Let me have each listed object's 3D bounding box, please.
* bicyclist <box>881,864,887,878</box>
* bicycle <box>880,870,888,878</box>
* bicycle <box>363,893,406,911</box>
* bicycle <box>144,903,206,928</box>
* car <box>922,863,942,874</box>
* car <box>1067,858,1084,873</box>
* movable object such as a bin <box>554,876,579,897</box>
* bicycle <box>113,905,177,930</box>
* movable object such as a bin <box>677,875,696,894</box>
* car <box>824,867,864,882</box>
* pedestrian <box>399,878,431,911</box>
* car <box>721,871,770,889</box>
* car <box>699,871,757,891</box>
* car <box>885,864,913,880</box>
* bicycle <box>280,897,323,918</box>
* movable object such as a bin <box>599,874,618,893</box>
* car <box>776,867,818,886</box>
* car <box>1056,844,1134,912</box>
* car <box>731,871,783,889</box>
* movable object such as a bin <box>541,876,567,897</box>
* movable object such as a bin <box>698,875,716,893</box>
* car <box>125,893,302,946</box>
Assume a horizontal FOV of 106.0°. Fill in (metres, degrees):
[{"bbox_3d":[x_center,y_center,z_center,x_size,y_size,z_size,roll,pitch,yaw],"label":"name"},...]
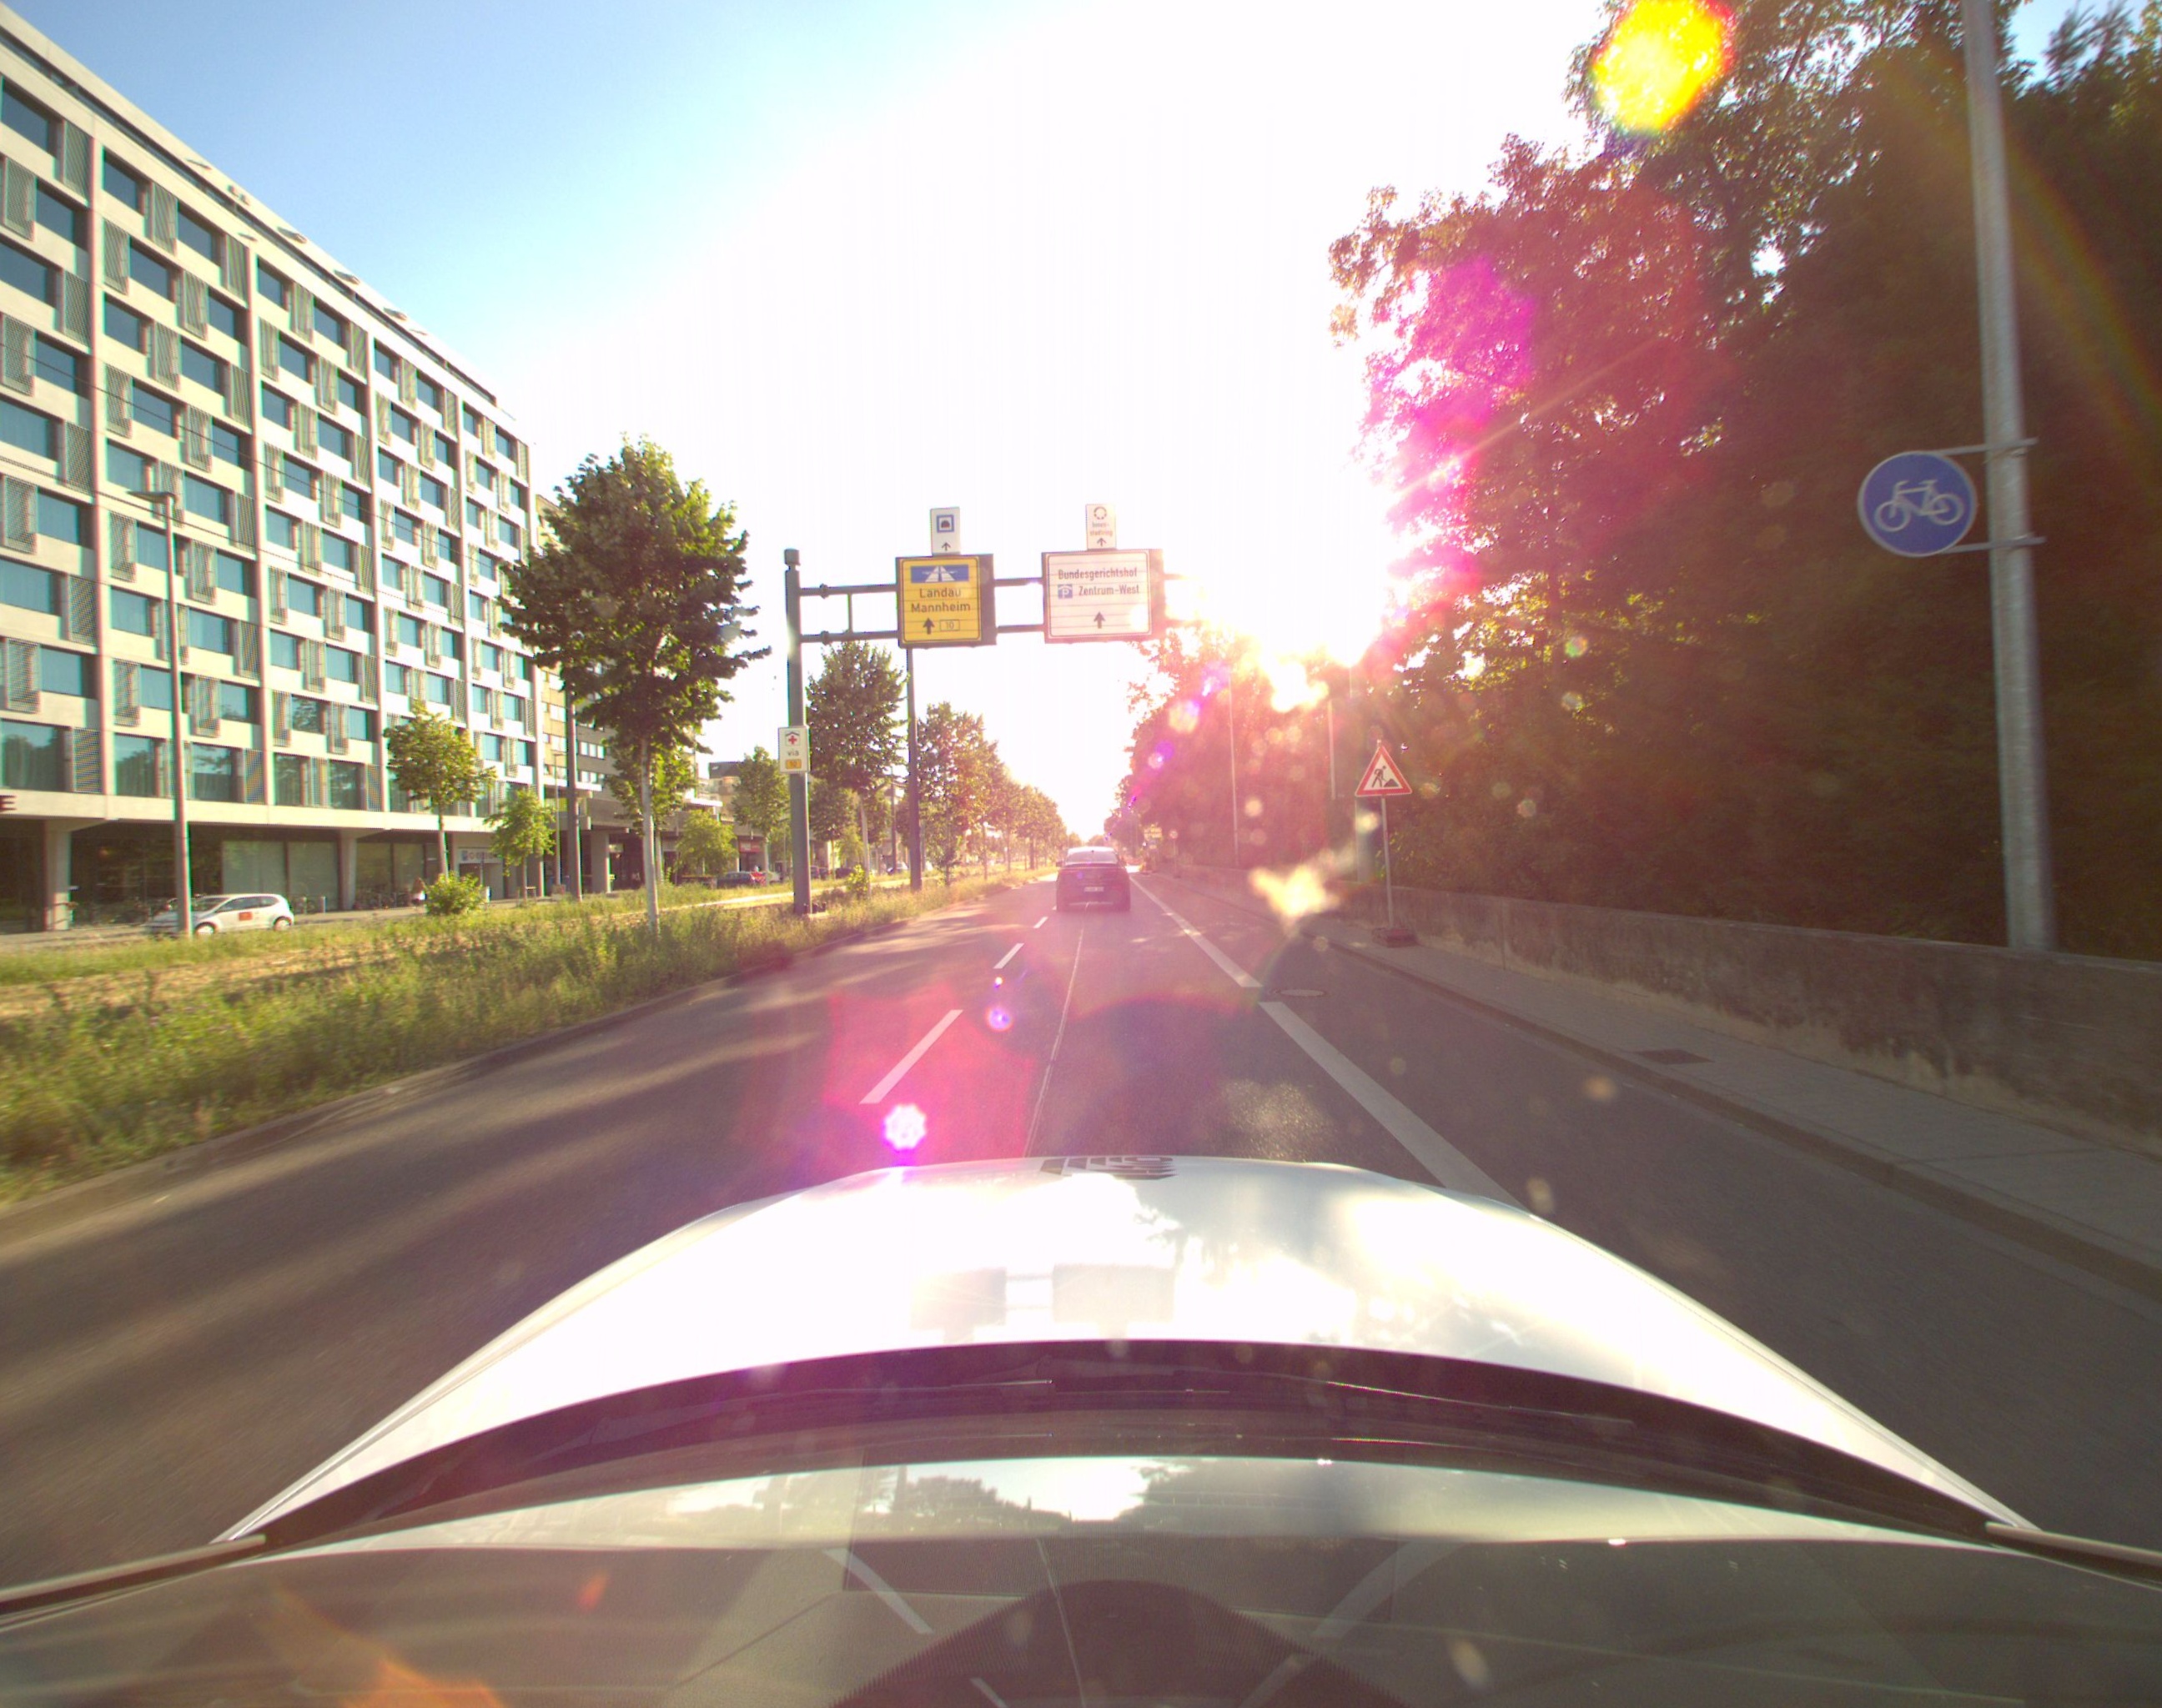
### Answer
[{"bbox_3d":[-25.456,2.173,105.351,0.538,1.788,0.857,-1,0,-1],"label":"bicyclist"},{"bbox_3d":[-25.438,2.583,105.254,0.542,0.993,1.711,-1,0,-1],"label":"bicycle"},{"bbox_3d":[-36.948,2.545,43.217,1.799,0.905,0.511,-2,-1,-2],"label":"bicycle"},{"bbox_3d":[-37.191,2.513,33.435,1.801,0.905,0.511,-2,-1,-5],"label":"bicycle"},{"bbox_3d":[-21.473,2.119,117.696,1.878,1.514,4.003,-1,0,3],"label":"car"},{"bbox_3d":[-0.620,1.292,94.129,1.879,1.580,4.001,-1,0,1],"label":"car"},{"bbox_3d":[-36.513,2.299,57.777,0.797,1.440,1.403,-2,0,2],"label":"movable object such as a bin"},{"bbox_3d":[-37.502,2.545,32.632,1.801,0.905,0.511,-2,-1,-5],"label":"bicycle"},{"bbox_3d":[-30.108,2.308,62.217,0.851,1.358,0.944,-2,-1,16],"label":"movable object such as a bin"},{"bbox_3d":[-27.531,2.363,94.620,4.021,1.563,1.976,-1,0,-41],"label":"car"},{"bbox_3d":[-35.232,2.118,43.109,0.840,1.653,0.971,-2,0,3],"label":"pedestrian"},{"bbox_3d":[-29.381,2.269,71.341,3.644,1.523,1.602,0,-1,-40],"label":"car"},{"bbox_3d":[-29.312,2.237,67.673,4.116,1.601,1.730,1,0,-40],"label":"car"},{"bbox_3d":[-21.748,2.129,97.613,1.878,1.689,5.093,-1,0,3],"label":"car"},{"bbox_3d":[-36.821,2.510,38.469,1.792,0.905,0.513,-2,-1,11],"label":"bicycle"},{"bbox_3d":[-36.088,2.276,62.212,0.818,1.371,0.868,-2,0,1],"label":"movable object such as a bin"},{"bbox_3d":[-29.356,2.287,84.165,3.777,1.829,1.804,-1,0,-39],"label":"car"},{"bbox_3d":[0.301,0.619,23.144,1.988,1.734,3.997,-1,0,-2],"label":"car"},{"bbox_3d":[-29.483,2.348,74.197,1.764,1.453,4.024,-1,0,43],"label":"car"},{"bbox_3d":[-37.382,2.312,57.791,0.797,1.440,1.403,-2,0,2],"label":"movable object such as a bin"},{"bbox_3d":[-28.716,2.288,62.517,0.851,1.280,0.944,-2,-1,16],"label":"movable object such as a bin"},{"bbox_3d":[-30.075,2.216,28.418,1.878,1.492,3.876,-1,0,3],"label":"car"}]
